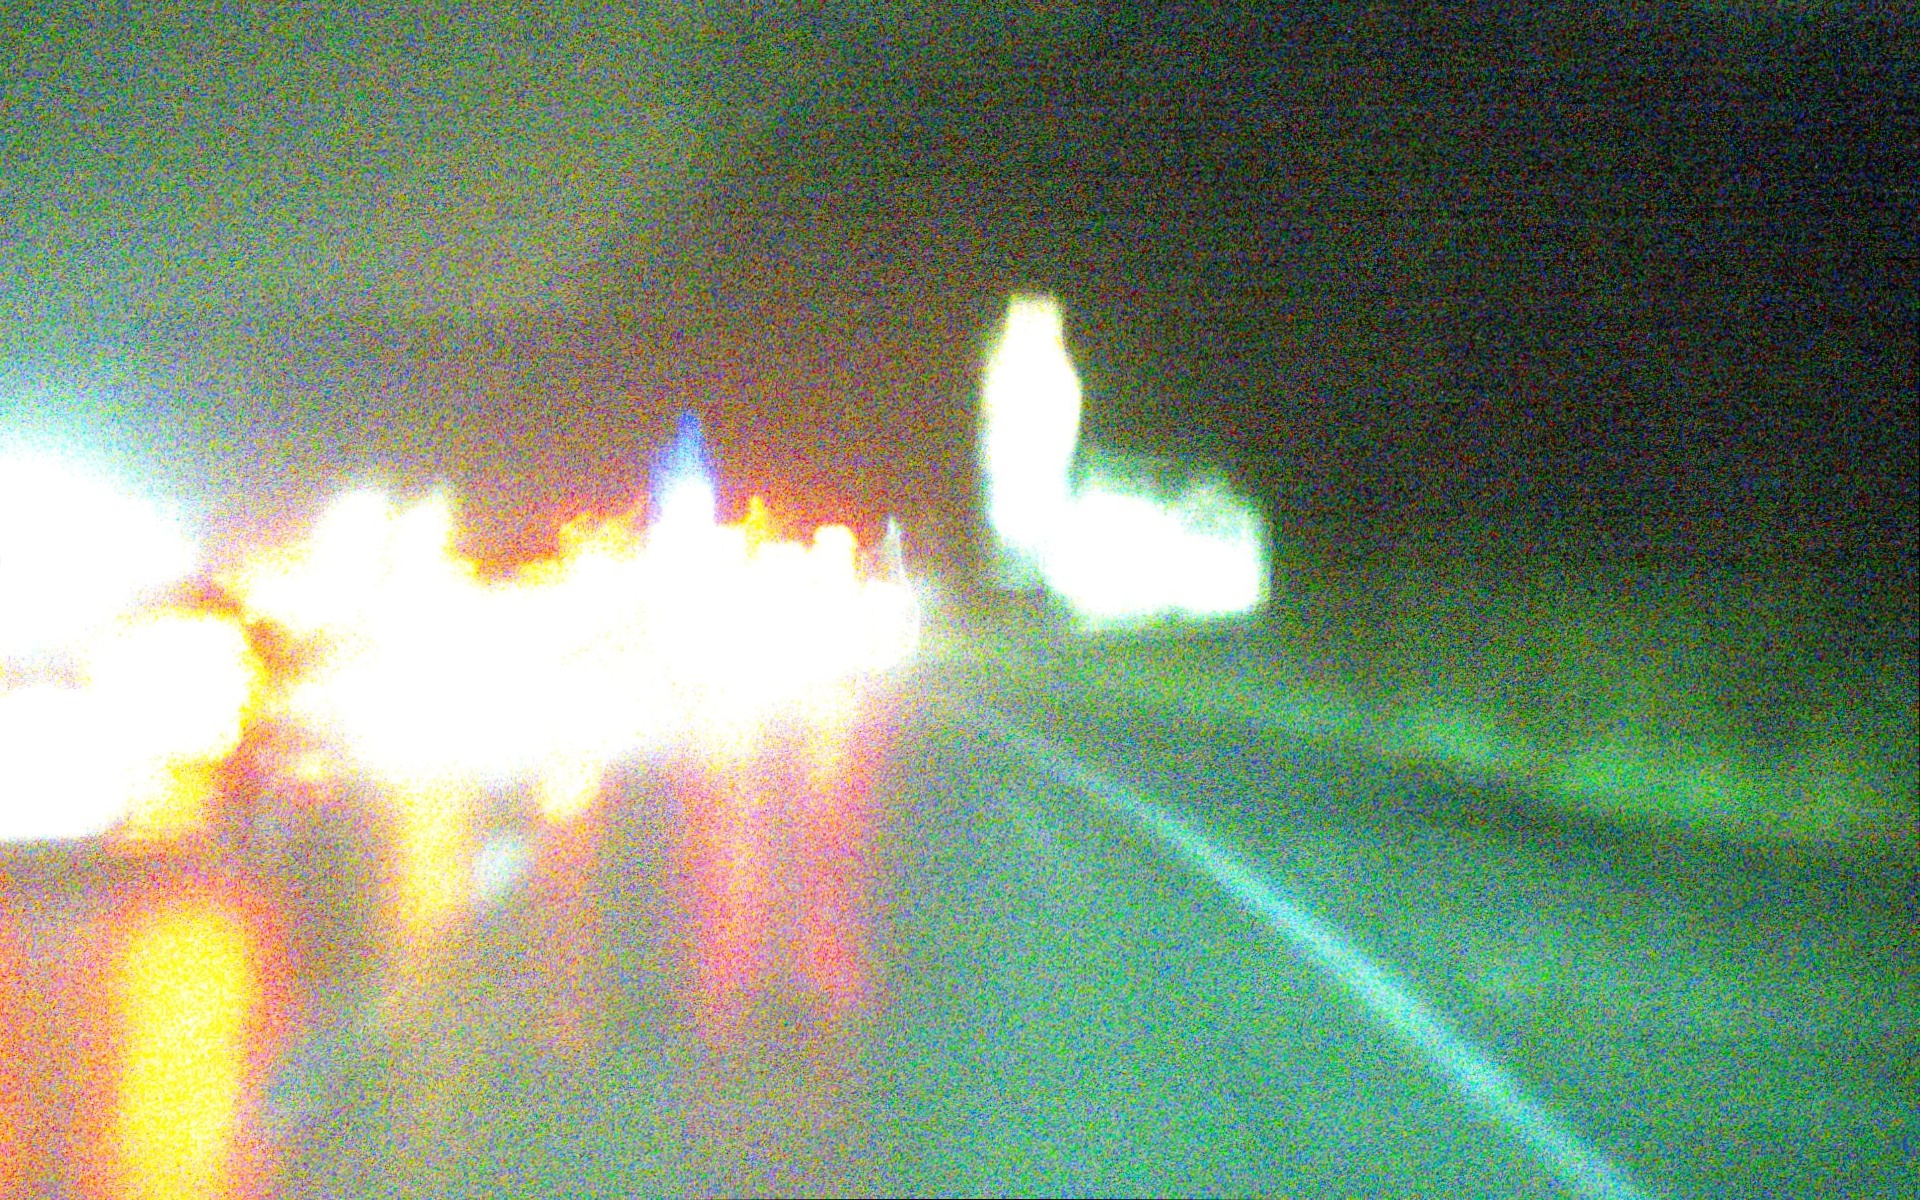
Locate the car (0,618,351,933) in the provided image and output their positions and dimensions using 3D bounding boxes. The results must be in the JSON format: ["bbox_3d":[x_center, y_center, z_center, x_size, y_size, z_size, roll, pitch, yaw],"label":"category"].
[{"bbox_3d":[-4.409,0.811,17.683,1.962,1.376,4.049,2,0,-3],"label":"car"}]

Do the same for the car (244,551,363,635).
[{"bbox_3d":[-12.661,-0.129,66.455,1.892,1.545,4.001,1,0,-6],"label":"car"}]
